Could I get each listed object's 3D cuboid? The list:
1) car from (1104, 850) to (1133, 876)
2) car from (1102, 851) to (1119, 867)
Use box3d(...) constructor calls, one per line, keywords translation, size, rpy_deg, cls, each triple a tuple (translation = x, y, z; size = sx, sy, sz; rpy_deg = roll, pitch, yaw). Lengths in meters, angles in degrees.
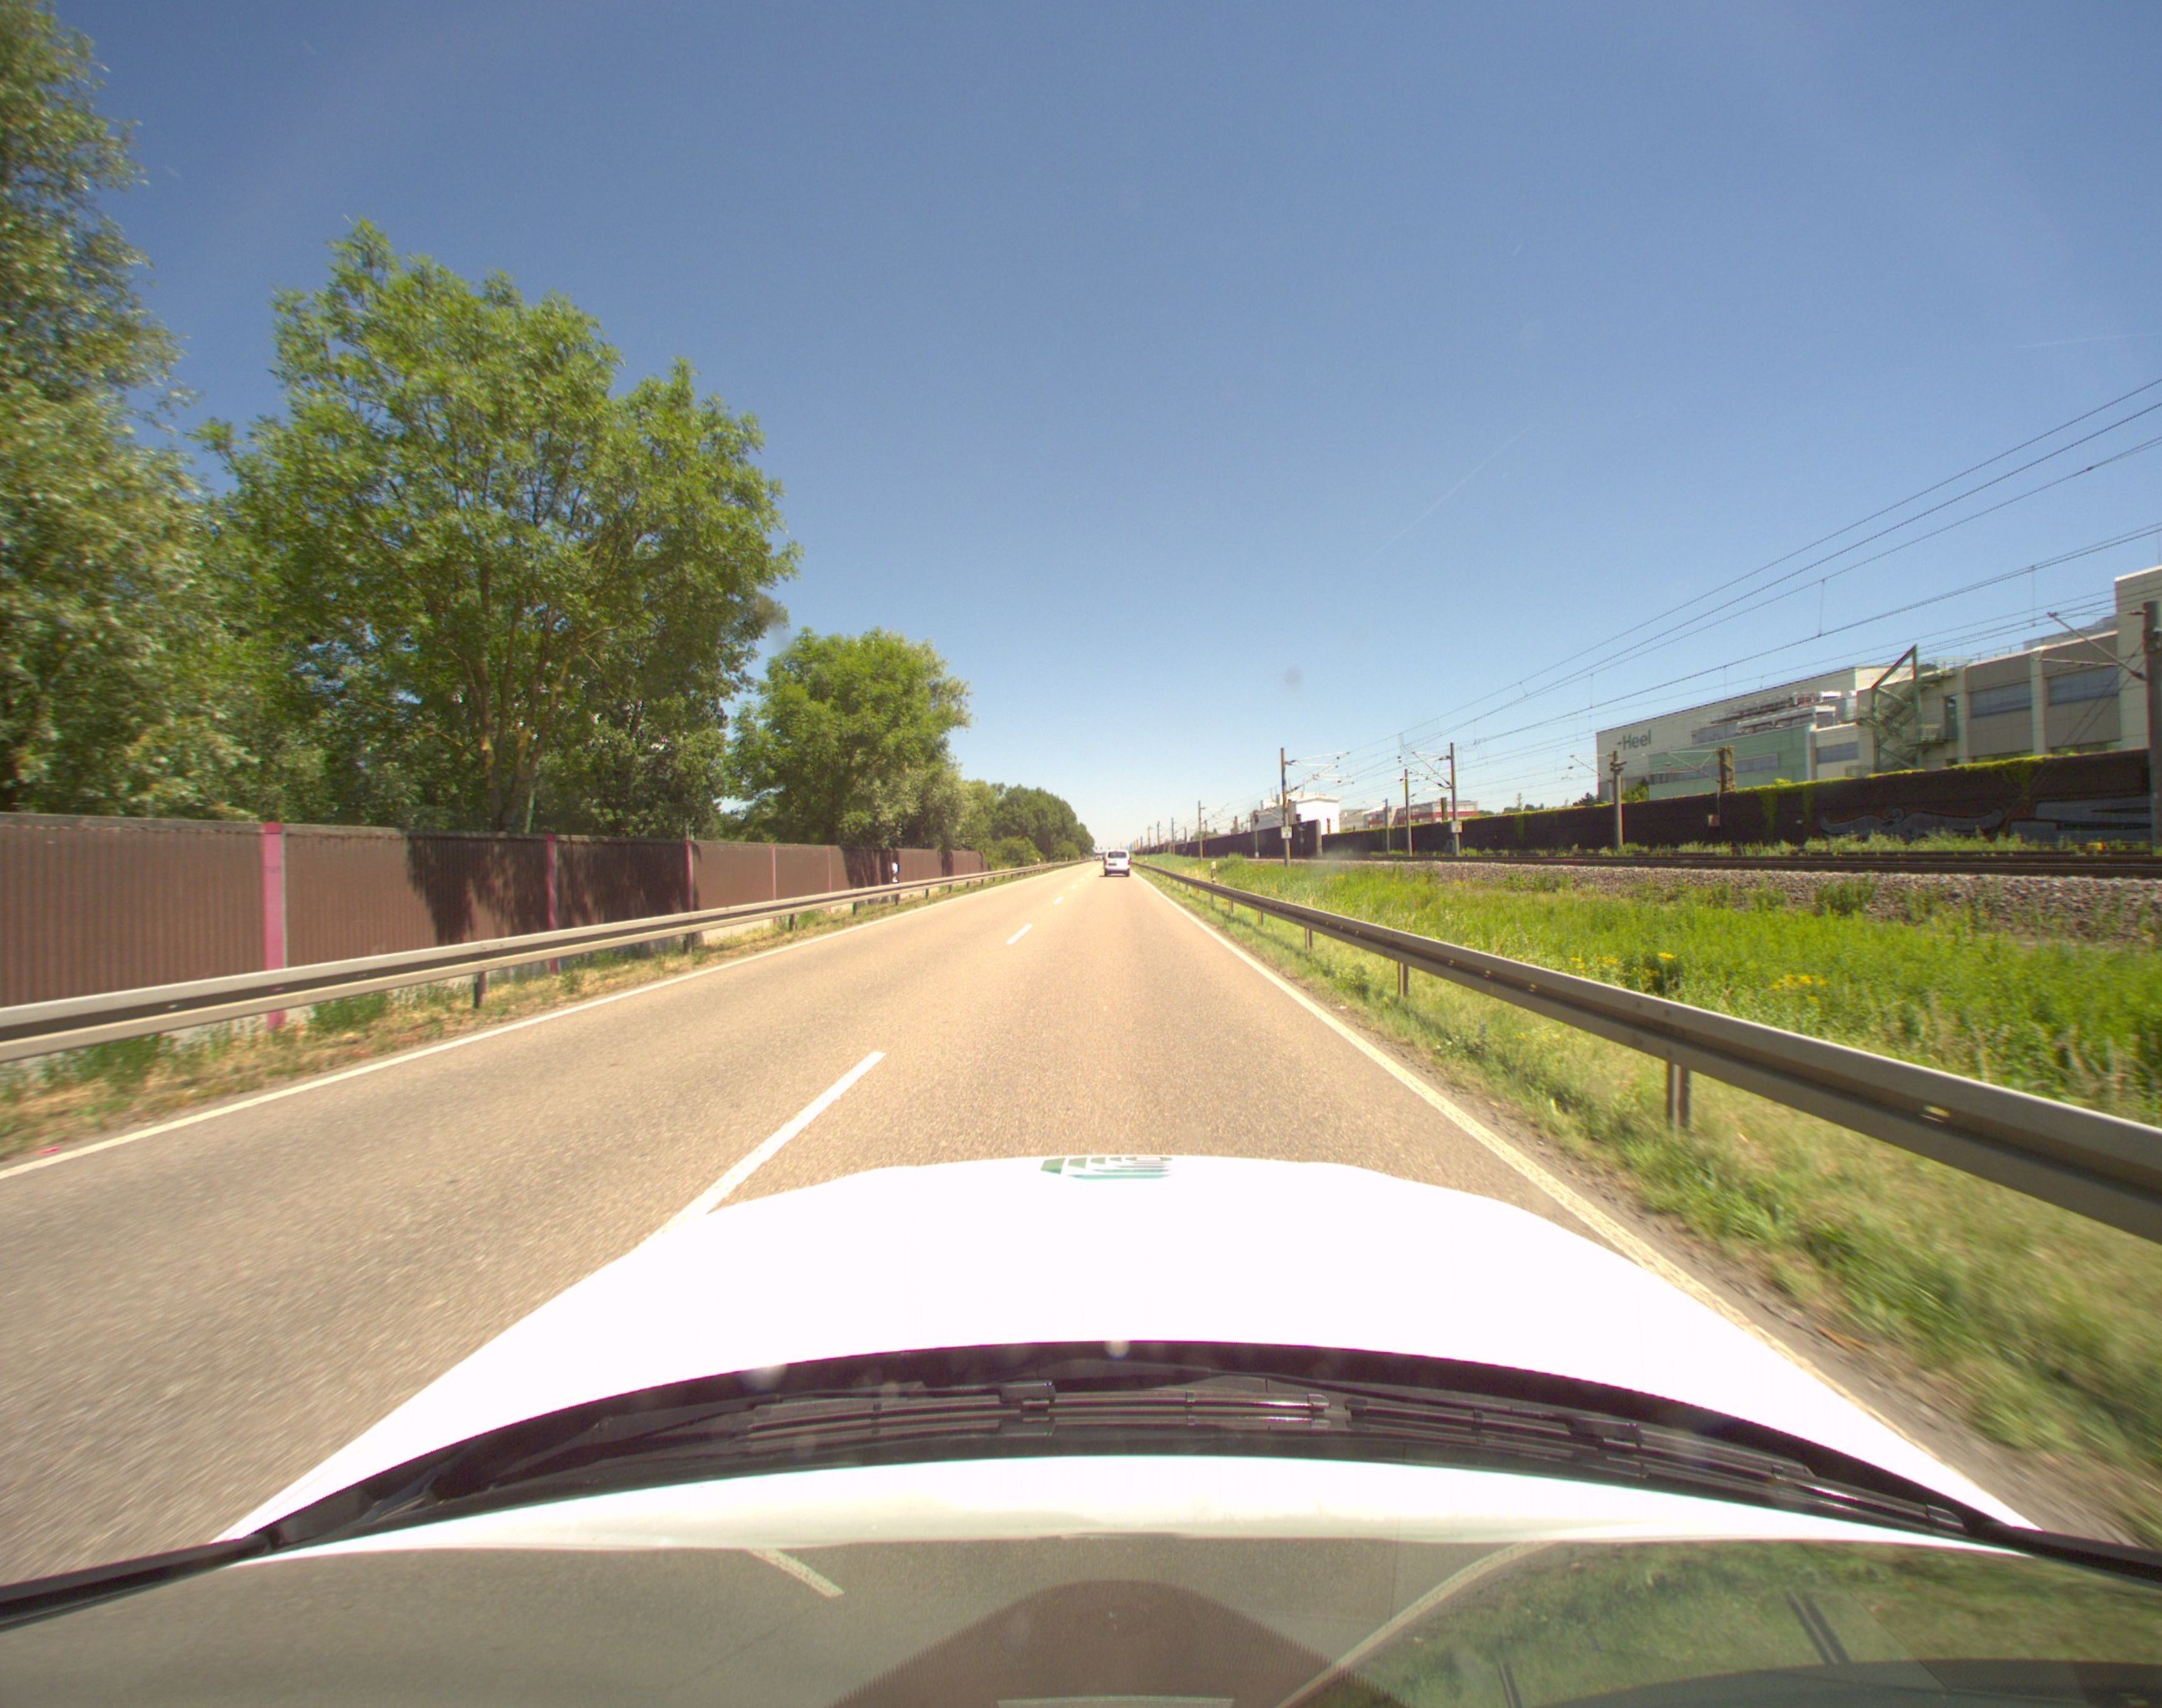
box3d(translation=(2.727, 0.660, 59.606), size=(1.986, 1.850, 4.002), rpy_deg=(1, 0, 2), cls="car")
box3d(translation=(3.617, 0.611, 100.017), size=(1.986, 1.850, 4.002), rpy_deg=(1, 0, 2), cls="car")
